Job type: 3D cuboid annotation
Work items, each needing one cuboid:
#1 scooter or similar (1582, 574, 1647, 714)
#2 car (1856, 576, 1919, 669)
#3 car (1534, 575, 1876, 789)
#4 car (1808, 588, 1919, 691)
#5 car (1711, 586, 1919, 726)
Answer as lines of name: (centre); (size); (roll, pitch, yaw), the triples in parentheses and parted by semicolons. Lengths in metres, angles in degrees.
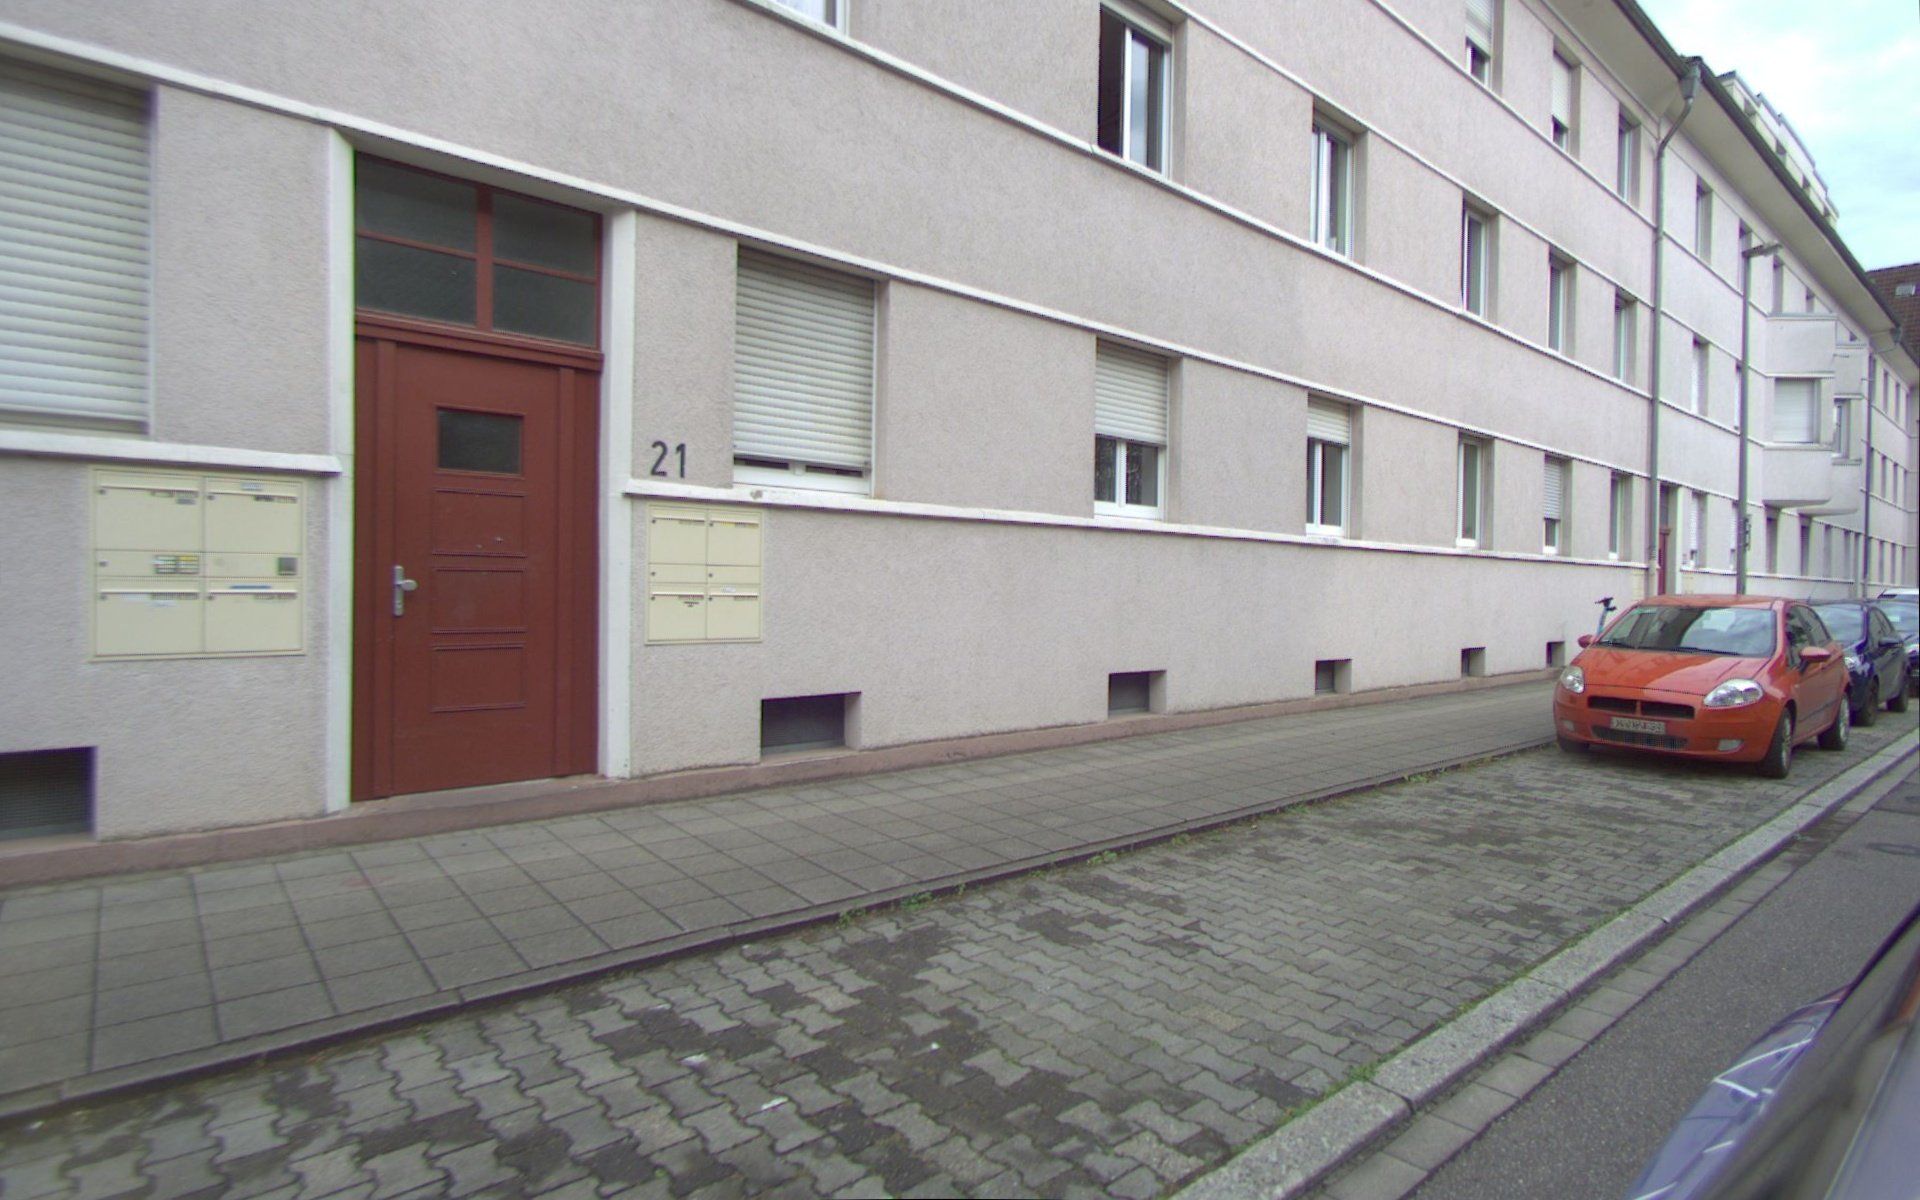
scooter or similar: (9.678, 0.647, 14.977); (0.665, 2.040, 0.346); (-1, -2, -1)
car: (19.366, 0.435, 20.122); (4.216, 1.694, 1.845); (0, 2, -42)
car: (6.983, 0.591, 9.363); (3.758, 1.544, 1.700); (0, 2, -40)
car: (15.373, 0.575, 16.585); (3.801, 1.497, 1.571); (0, 1, -40)
car: (11.164, 0.608, 12.984); (3.629, 1.491, 1.571); (0, 3, -39)
